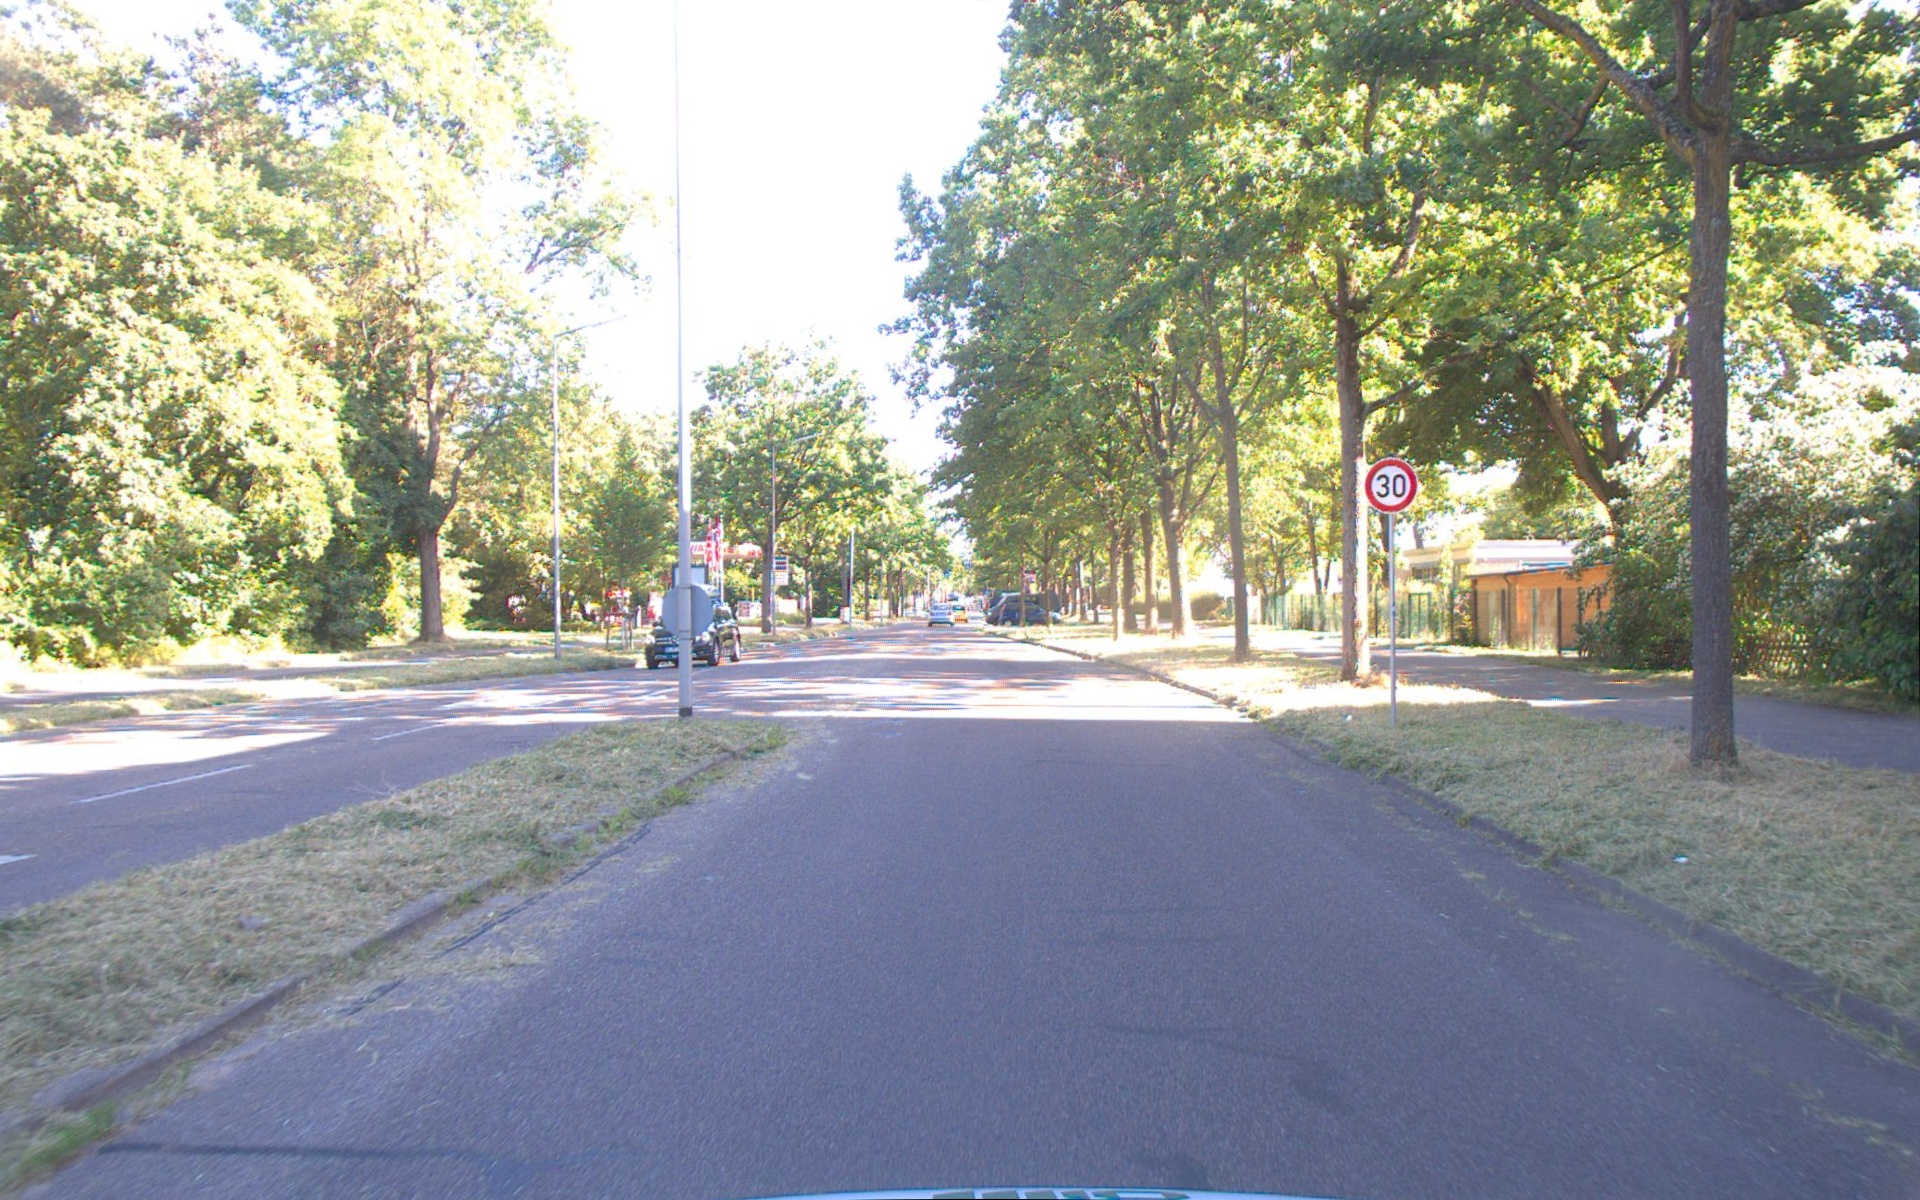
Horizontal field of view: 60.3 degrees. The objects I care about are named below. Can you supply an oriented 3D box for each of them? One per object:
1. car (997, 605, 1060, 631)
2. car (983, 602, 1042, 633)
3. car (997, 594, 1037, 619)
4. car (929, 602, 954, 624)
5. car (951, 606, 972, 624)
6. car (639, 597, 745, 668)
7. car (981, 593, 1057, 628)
[{"bbox_3d":[3.957,1.067,95.834,3.578,1.423,1.317,-1,-2,-1],"label":"car"},{"bbox_3d":[3.207,1.090,101.298,3.578,1.829,1.317,-1,-2,-1],"label":"car"},{"bbox_3d":[5.126,0.556,148.450,3.494,2.087,1.632,-1,-4,-1],"label":"car"},{"bbox_3d":[-1.212,0.853,107.799,1.627,1.360,3.664,-1,-2,-1],"label":"car"},{"bbox_3d":[0.139,1.235,133.040,1.627,1.360,3.664,-1,-2,-1],"label":"car"},{"bbox_3d":[-6.967,0.822,43.459,1.801,1.738,4.506,-2,0,3],"label":"car"},{"bbox_3d":[3.500,0.646,98.792,4.411,1.987,1.687,-1,-2,-1],"label":"car"}]
